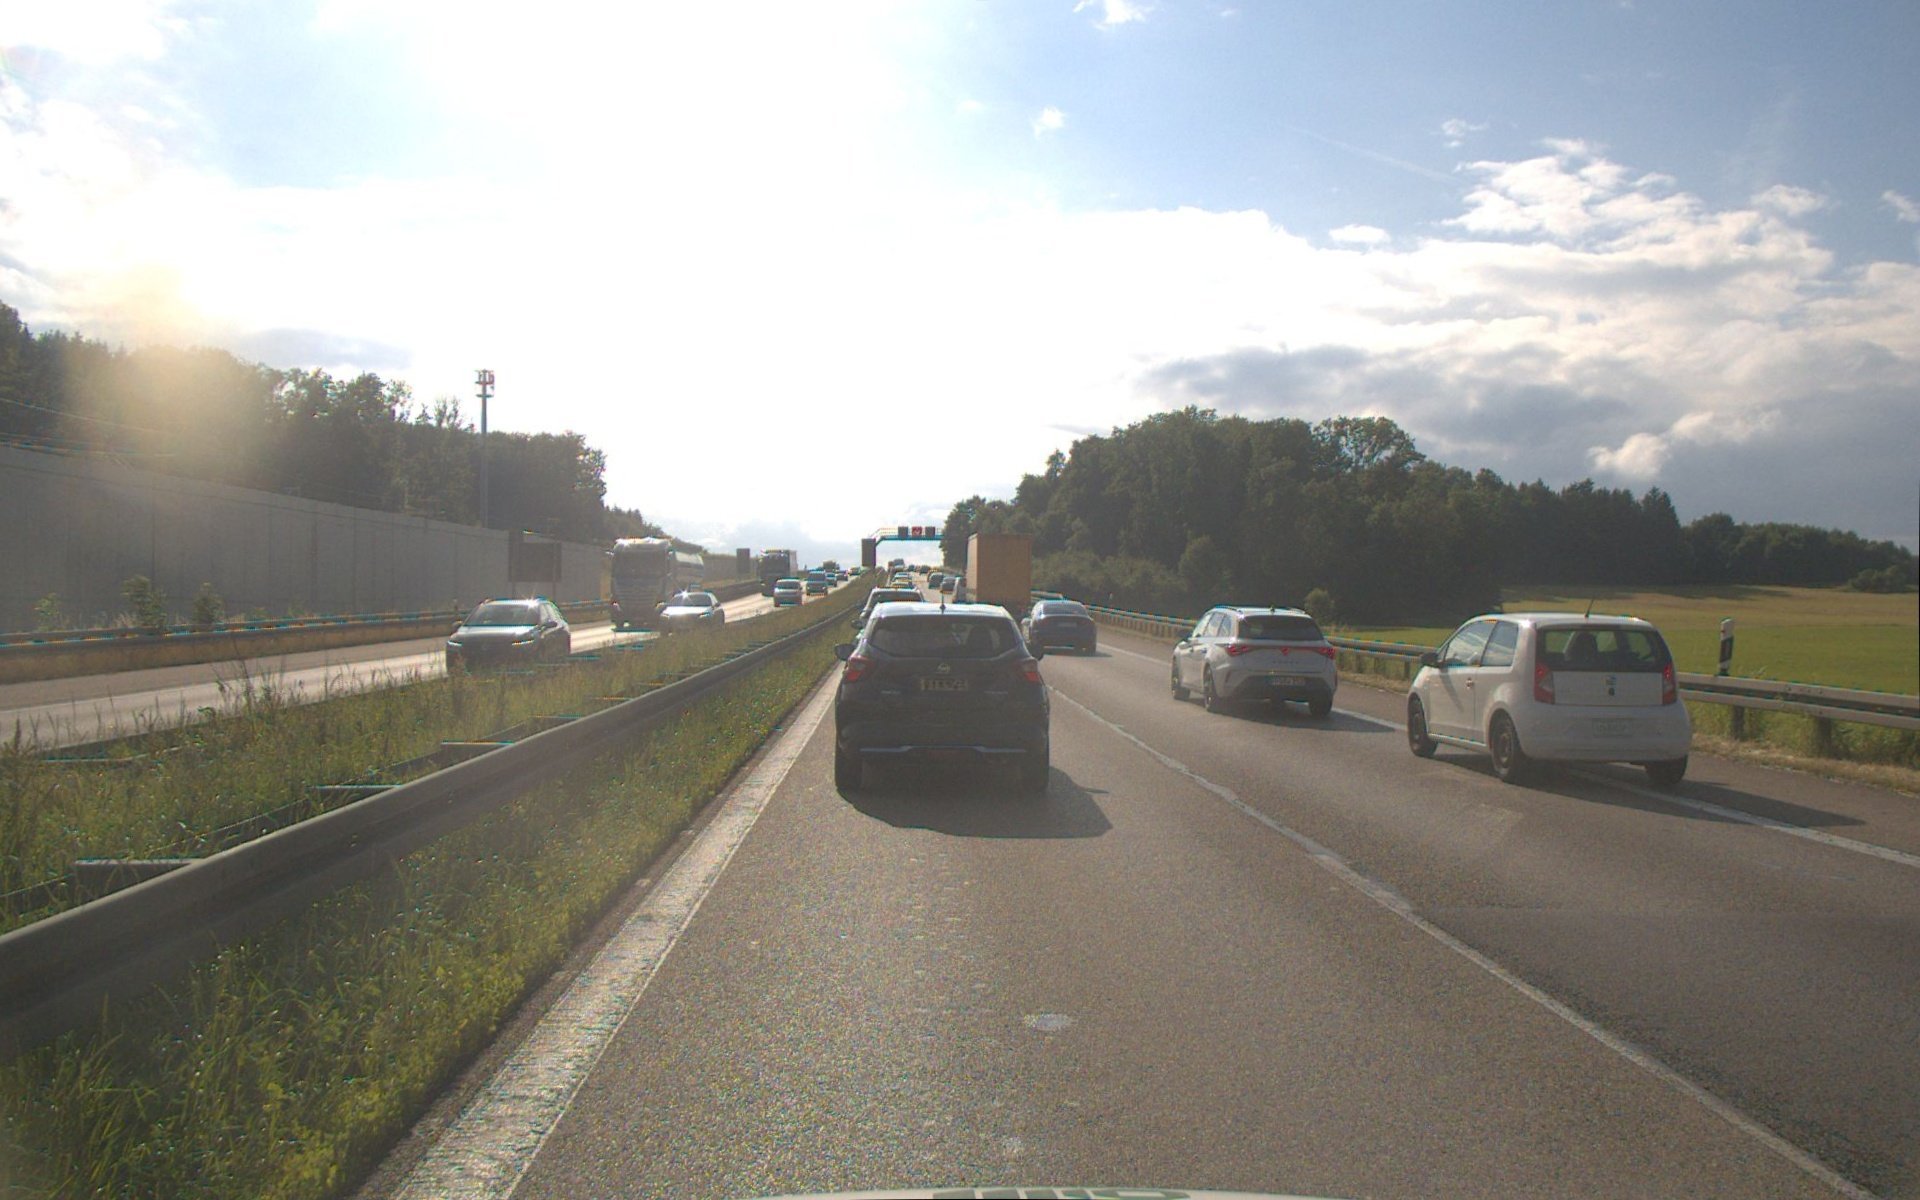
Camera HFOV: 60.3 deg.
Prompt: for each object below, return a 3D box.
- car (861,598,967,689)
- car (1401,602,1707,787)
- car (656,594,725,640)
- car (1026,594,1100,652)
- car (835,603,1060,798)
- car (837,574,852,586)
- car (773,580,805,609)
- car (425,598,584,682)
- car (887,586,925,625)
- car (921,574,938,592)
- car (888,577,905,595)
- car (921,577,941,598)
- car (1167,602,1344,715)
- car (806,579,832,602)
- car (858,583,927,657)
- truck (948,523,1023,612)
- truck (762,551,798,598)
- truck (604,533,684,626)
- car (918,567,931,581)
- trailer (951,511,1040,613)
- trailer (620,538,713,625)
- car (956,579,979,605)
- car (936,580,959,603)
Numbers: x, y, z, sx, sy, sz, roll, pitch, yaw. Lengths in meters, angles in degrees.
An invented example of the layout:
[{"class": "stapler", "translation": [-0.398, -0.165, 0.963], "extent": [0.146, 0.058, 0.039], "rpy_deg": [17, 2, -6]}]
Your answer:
[{"class": "car", "translation": [-0.756, 0.699, 27.687], "extent": [1.640, 1.391, 3.595], "rpy_deg": [1, -1, -1]}, {"class": "car", "translation": [5.483, 0.804, 15.685], "extent": [1.518, 1.521, 3.376], "rpy_deg": [1, 0, -4]}, {"class": "car", "translation": [-9.647, 0.601, 59.605], "extent": [1.766, 1.543, 4.689], "rpy_deg": [1, 0, -1]}, {"class": "car", "translation": [2.800, 0.620, 45.729], "extent": [1.711, 1.501, 4.146], "rpy_deg": [1, -1, -1]}, {"class": "car", "translation": [-0.109, 0.772, 14.154], "extent": [1.675, 1.451, 3.377], "rpy_deg": [1, -1, -1]}, {"class": "car", "translation": [-15.744, -2.753, 225.556], "extent": [1.864, 1.490, 4.181], "rpy_deg": [1, 0, -2]}, {"class": "car", "translation": [-11.651, -0.363, 113.011], "extent": [1.822, 1.866, 4.279], "rpy_deg": [1, 0, -1]}, {"class": "car", "translation": [-8.888, 0.751, 32.637], "extent": [1.953, 1.512, 4.397], "rpy_deg": [1, 0, -1]}, {"class": "car", "translation": [-2.931, 0.310, 89.057], "extent": [1.954, 2.049, 3.997], "rpy_deg": [1, 0, -3]}, {"class": "car", "translation": [-3.817, -2.117, 207.705], "extent": [1.954, 2.049, 3.997], "rpy_deg": [1, 0, -3]}, {"class": "car", "translation": [-7.434, -1.641, 192.782], "extent": [1.954, 2.049, 3.997], "rpy_deg": [1, 0, -3]}, {"class": "car", "translation": [-3.071, -1.314, 175.410], "extent": [1.954, 2.049, 3.997], "rpy_deg": [1, 0, -3]}, {"class": "car", "translation": [4.165, 0.788, 23.899], "extent": [1.588, 1.471, 4.144], "rpy_deg": [1, -1, -3]}, {"class": "car", "translation": [-12.648, -0.820, 148.678], "extent": [1.953, 1.916, 4.785], "rpy_deg": [-2, 0, -2]}, {"class": "car", "translation": [-1.654, 0.507, 41.625], "extent": [1.640, 1.756, 3.595], "rpy_deg": [1, -1, -1]}, {"class": "truck", "translation": [1.282, -1.647, 87.956], "extent": [3.510, 4.456, 6.684], "rpy_deg": [1, -1, -3]}, {"class": "truck", "translation": [-16.455, -2.287, 151.699], "extent": [2.698, 4.162, 6.950], "rpy_deg": [0, 0, -2]}, {"class": "truck", "translation": [-13.882, -0.856, 72.987], "extent": [2.501, 3.865, 5.415], "rpy_deg": [-1, 0, -1]}, {"class": "car", "translation": [-5.671, -4.115, 262.001], "extent": [1.954, 2.049, 3.997], "rpy_deg": [1, 0, -3]}, {"class": "trailer", "translation": [1.594, -1.689, 81.154], "extent": [3.478, 4.535, 12.715], "rpy_deg": [1, 0, -3]}, {"class": "trailer", "translation": [-14.048, -0.766, 80.157], "extent": [2.489, 3.837, 12.537], "rpy_deg": [-1, 0, -1]}, {"class": "car", "translation": [0.538, -0.568, 119.589], "extent": [1.633, 1.785, 3.326], "rpy_deg": [1, 0, -1]}, {"class": "car", "translation": [-1.206, -0.782, 156.771], "extent": [1.954, 2.049, 3.997], "rpy_deg": [1, 0, -3]}]
